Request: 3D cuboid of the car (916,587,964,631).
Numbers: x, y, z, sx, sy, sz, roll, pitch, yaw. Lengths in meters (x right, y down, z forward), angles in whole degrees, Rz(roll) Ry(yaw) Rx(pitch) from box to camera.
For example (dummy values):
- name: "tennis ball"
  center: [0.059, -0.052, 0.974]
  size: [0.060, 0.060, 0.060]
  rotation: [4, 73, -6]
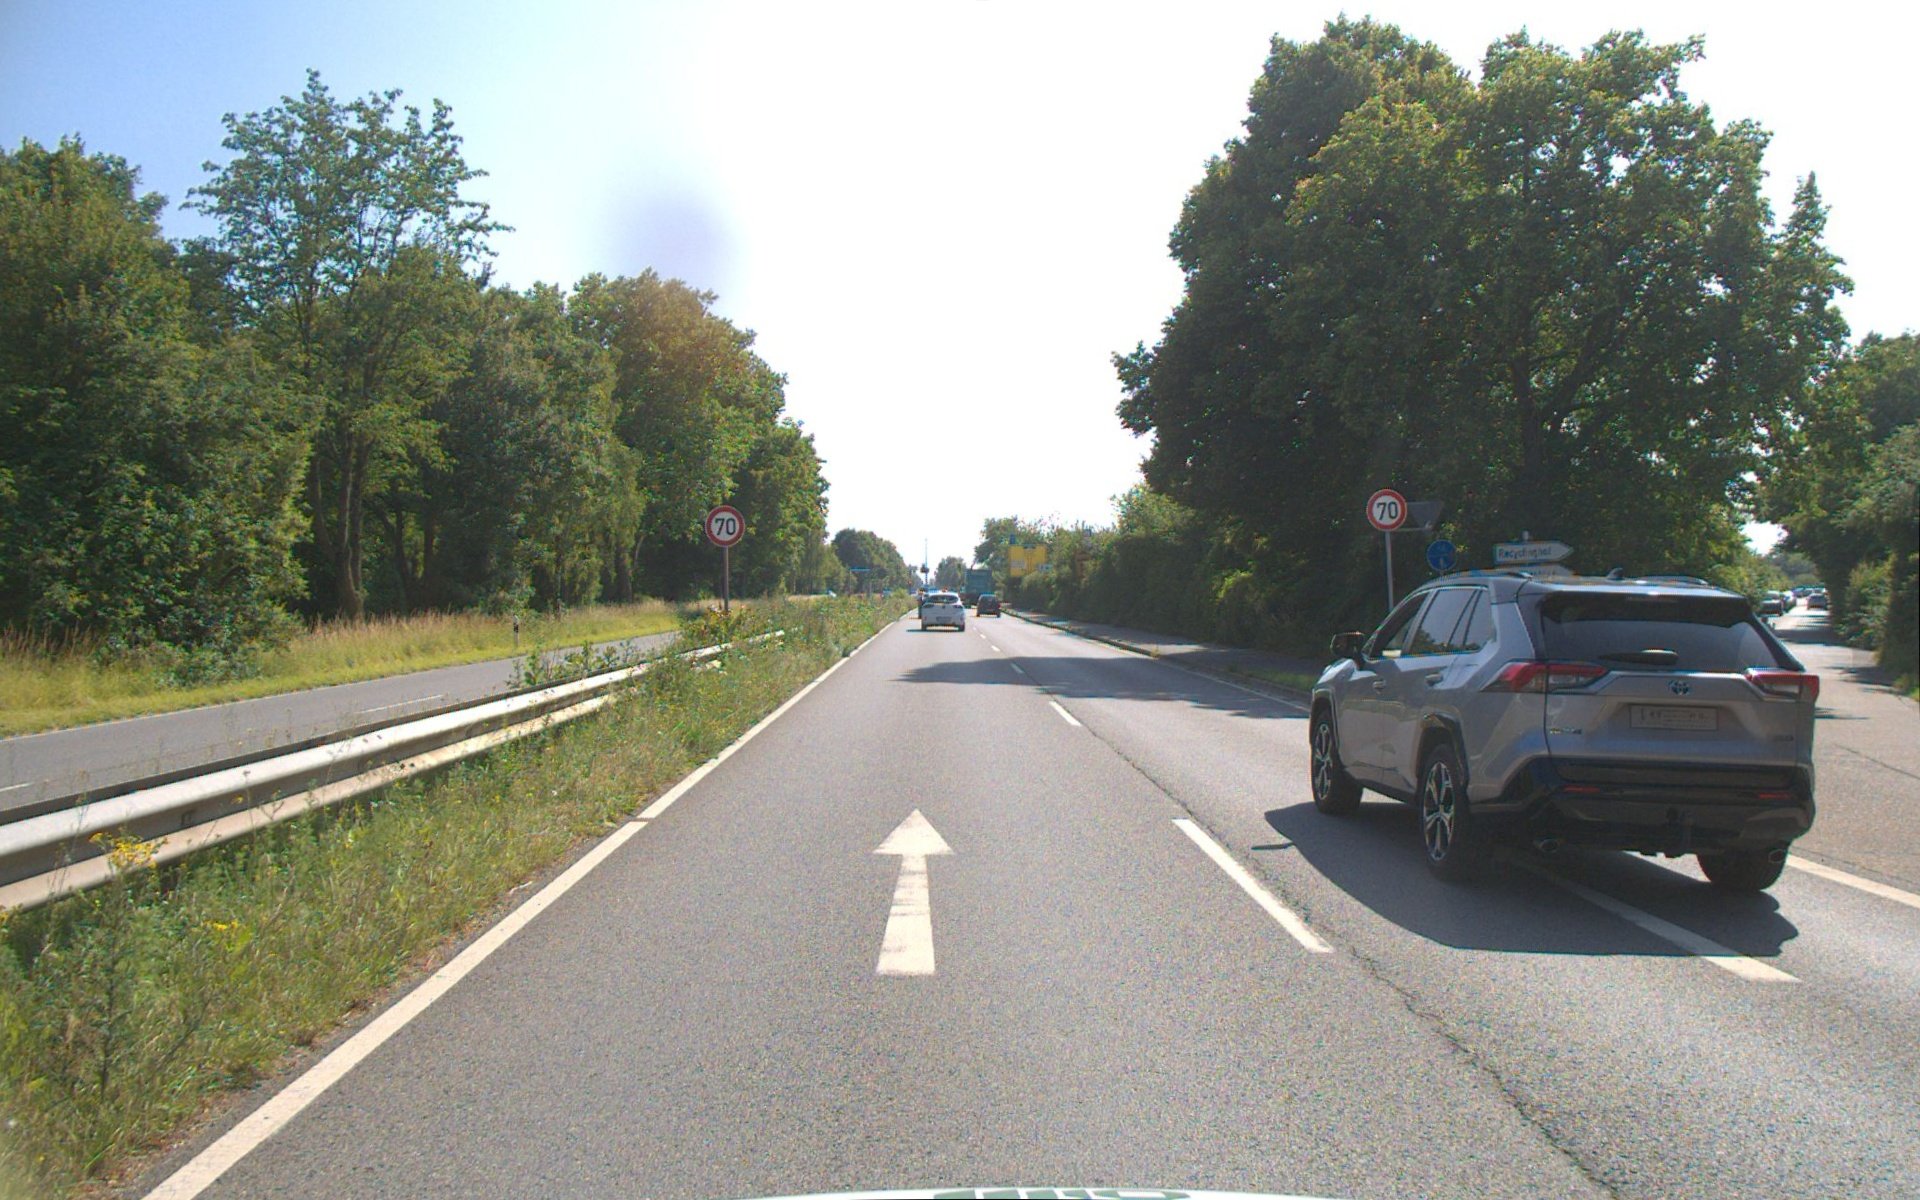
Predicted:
- name: "car"
  center: [-0.737, 0.323, 63.972]
  size: [1.762, 1.580, 4.000]
  rotation: [1, 1, 0]

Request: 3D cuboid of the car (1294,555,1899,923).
- name: "car"
  center: [3.533, 0.658, 10.281]
  size: [1.863, 1.709, 4.682]
  rotation: [2, 0, -1]

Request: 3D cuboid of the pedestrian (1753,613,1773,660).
- name: "pedestrian"
  center: [25.637, 1.165, 52.808]
  size: [0.557, 1.458, 0.467]
  rotation: [1, -1, 29]

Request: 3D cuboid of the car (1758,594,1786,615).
- name: "car"
  center: [67.255, 0.399, 136.951]
  size: [1.644, 1.638, 3.862]
  rotation: [1, 0, 33]

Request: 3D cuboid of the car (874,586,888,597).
- name: "car"
  center: [-11.934, -1.319, 250.859]
  size: [1.742, 1.557, 4.162]
  rotation: [-1, 0, 2]

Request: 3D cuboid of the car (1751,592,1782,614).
- name: "car"
  center: [60.378, 0.225, 123.828]
  size: [1.644, 1.638, 3.862]
  rotation: [1, 0, 33]

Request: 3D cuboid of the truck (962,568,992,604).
- name: "truck"
  center: [1.645, -1.419, 165.058]
  size: [2.833, 3.488, 9.168]
  rotation: [0, 0, -1]

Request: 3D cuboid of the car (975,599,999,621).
- name: "car"
  center: [1.790, 0.657, 109.874]
  size: [1.540, 1.439, 3.277]
  rotation: [1, -1, -1]

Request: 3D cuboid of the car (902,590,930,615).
- name: "car"
  center: [-2.514, 0.161, 95.454]
  size: [1.540, 1.439, 3.277]
  rotation: [1, -1, -1]
